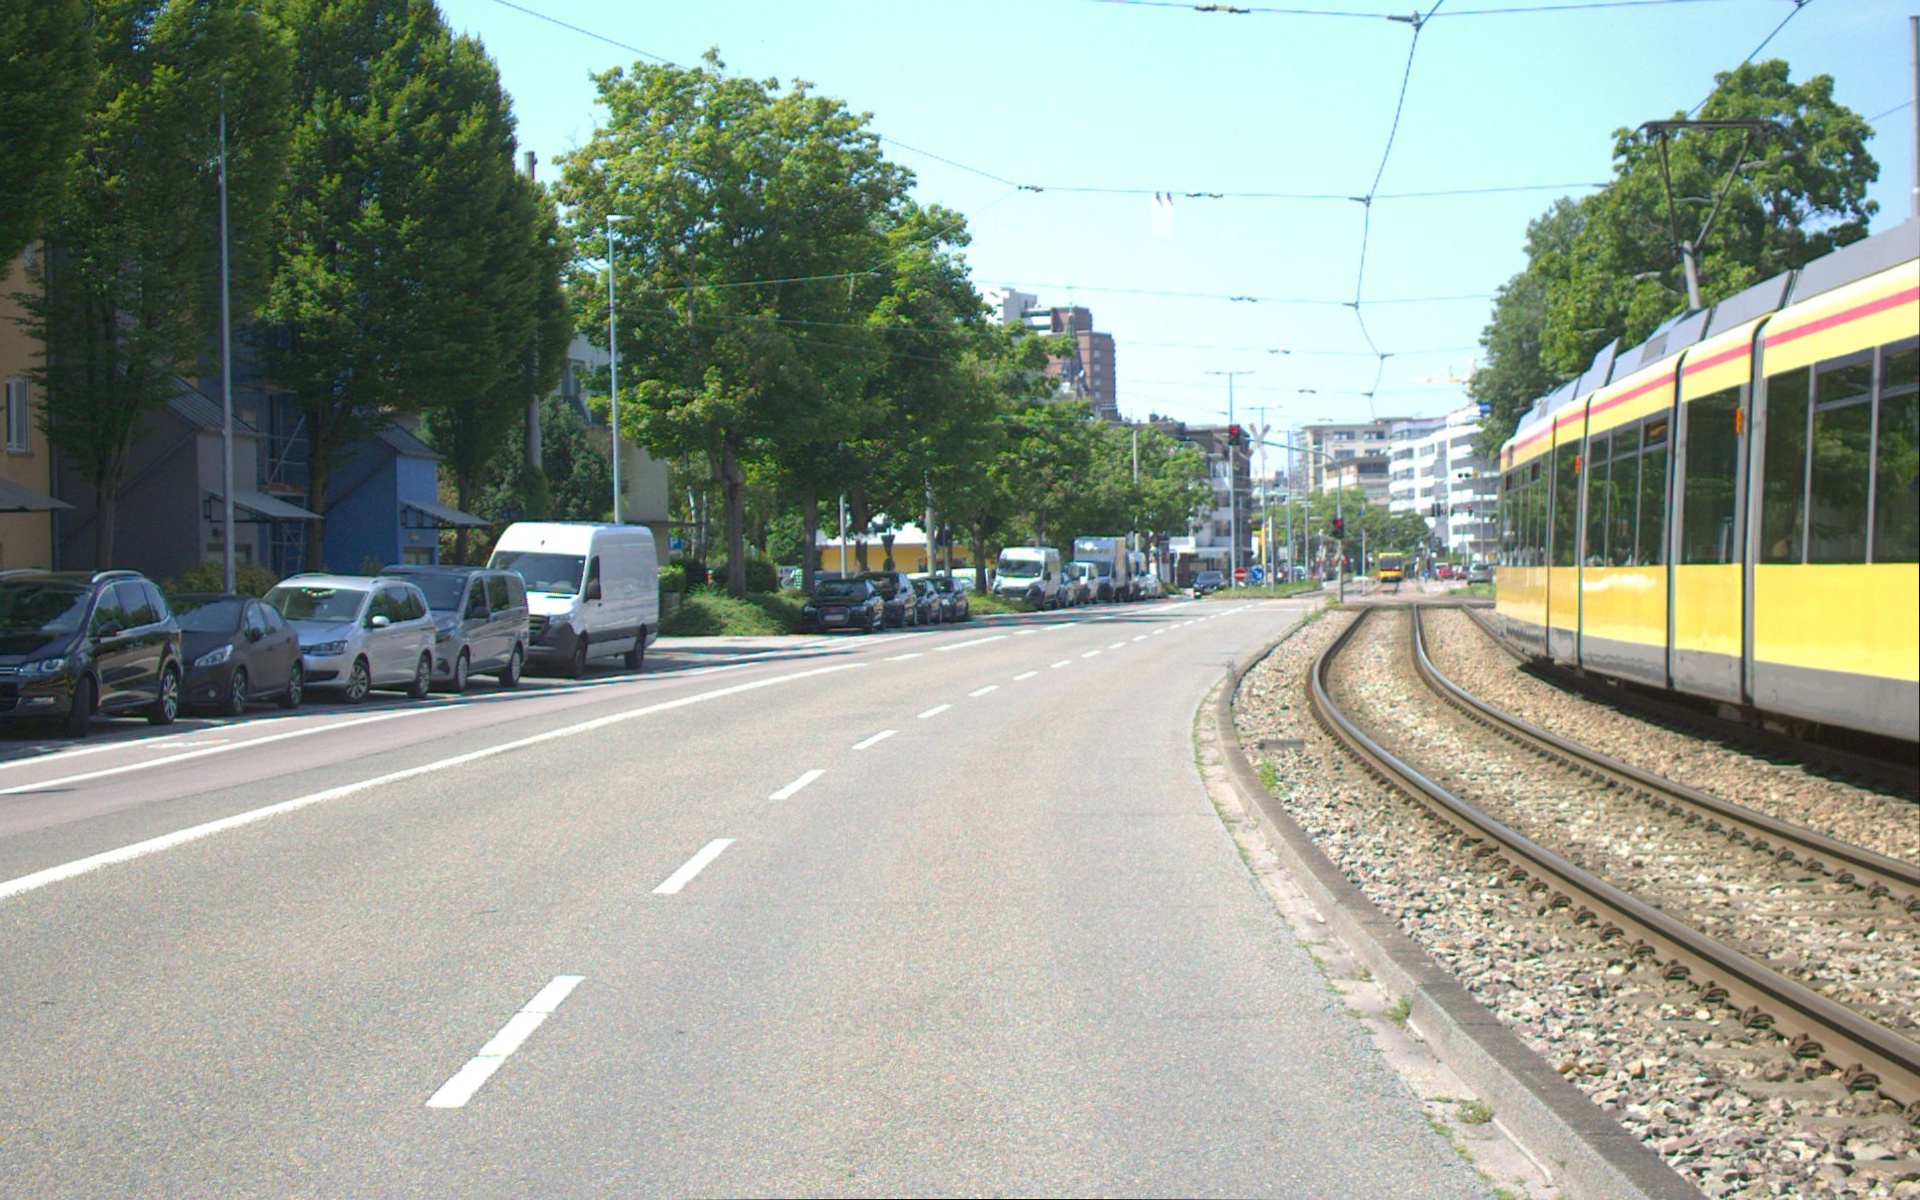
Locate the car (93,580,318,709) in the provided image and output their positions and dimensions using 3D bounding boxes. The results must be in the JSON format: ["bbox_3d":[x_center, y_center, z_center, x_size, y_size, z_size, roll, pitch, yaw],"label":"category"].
[{"bbox_3d":[-9.371,0.518,42.974,1.598,1.466,4.087,-1,1,4],"label":"car"}]

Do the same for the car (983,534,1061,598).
[{"bbox_3d":[2.559,-1.377,139.520,2.158,2.478,6.190,2,1,10],"label":"car"}]

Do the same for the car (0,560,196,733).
[{"bbox_3d":[-9.880,0.457,37.227,1.751,1.710,4.887,-1,1,4],"label":"car"}]

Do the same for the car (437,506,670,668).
[{"bbox_3d":[-7.214,-0.275,61.967,2.324,2.642,7.032,3,1,8],"label":"car"}]

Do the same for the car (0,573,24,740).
[{"bbox_3d":[-10.293,0.595,32.041,1.656,1.612,4.285,-1,1,4],"label":"car"}]

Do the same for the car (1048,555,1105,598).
[{"bbox_3d":[5.384,-1.094,158.108,2.061,1.891,4.869,-1,0,8],"label":"car"}]

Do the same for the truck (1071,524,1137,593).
[{"bbox_3d":[7.046,-2.019,167.372,2.158,3.199,7.079,2,1,10],"label":"truck"}]

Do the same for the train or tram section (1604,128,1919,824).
[{"bbox_3d":[6.589,-0.675,19.553,2.943,3.679,18.388,0,1,2],"label":"train or tram section"}]

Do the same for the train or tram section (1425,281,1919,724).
[{"bbox_3d":[7.461,-0.945,38.774,2.944,3.679,20.281,0,1,4],"label":"train or tram section"}]

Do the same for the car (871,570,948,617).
[{"bbox_3d":[-1.519,-0.226,105.026,1.775,1.368,4.696,1,1,6],"label":"car"}]

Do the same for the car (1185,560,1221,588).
[{"bbox_3d":[13.366,-1.414,188.614,1.775,1.455,4.194,-2,0,6],"label":"car"}]

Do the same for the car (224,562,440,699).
[{"bbox_3d":[-8.661,0.372,47.823,1.717,1.746,4.903,-1,1,4],"label":"car"}]

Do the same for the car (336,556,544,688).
[{"bbox_3d":[-8.015,0.289,53.482,1.807,1.889,5.361,-1,1,7],"label":"car"}]

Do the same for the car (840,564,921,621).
[{"bbox_3d":[-2.297,-0.242,99.873,1.775,1.598,4.636,0,1,6],"label":"car"}]

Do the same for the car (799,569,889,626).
[{"bbox_3d":[-3.083,-0.090,92.271,1.775,1.451,4.803,-1,1,6],"label":"car"}]
